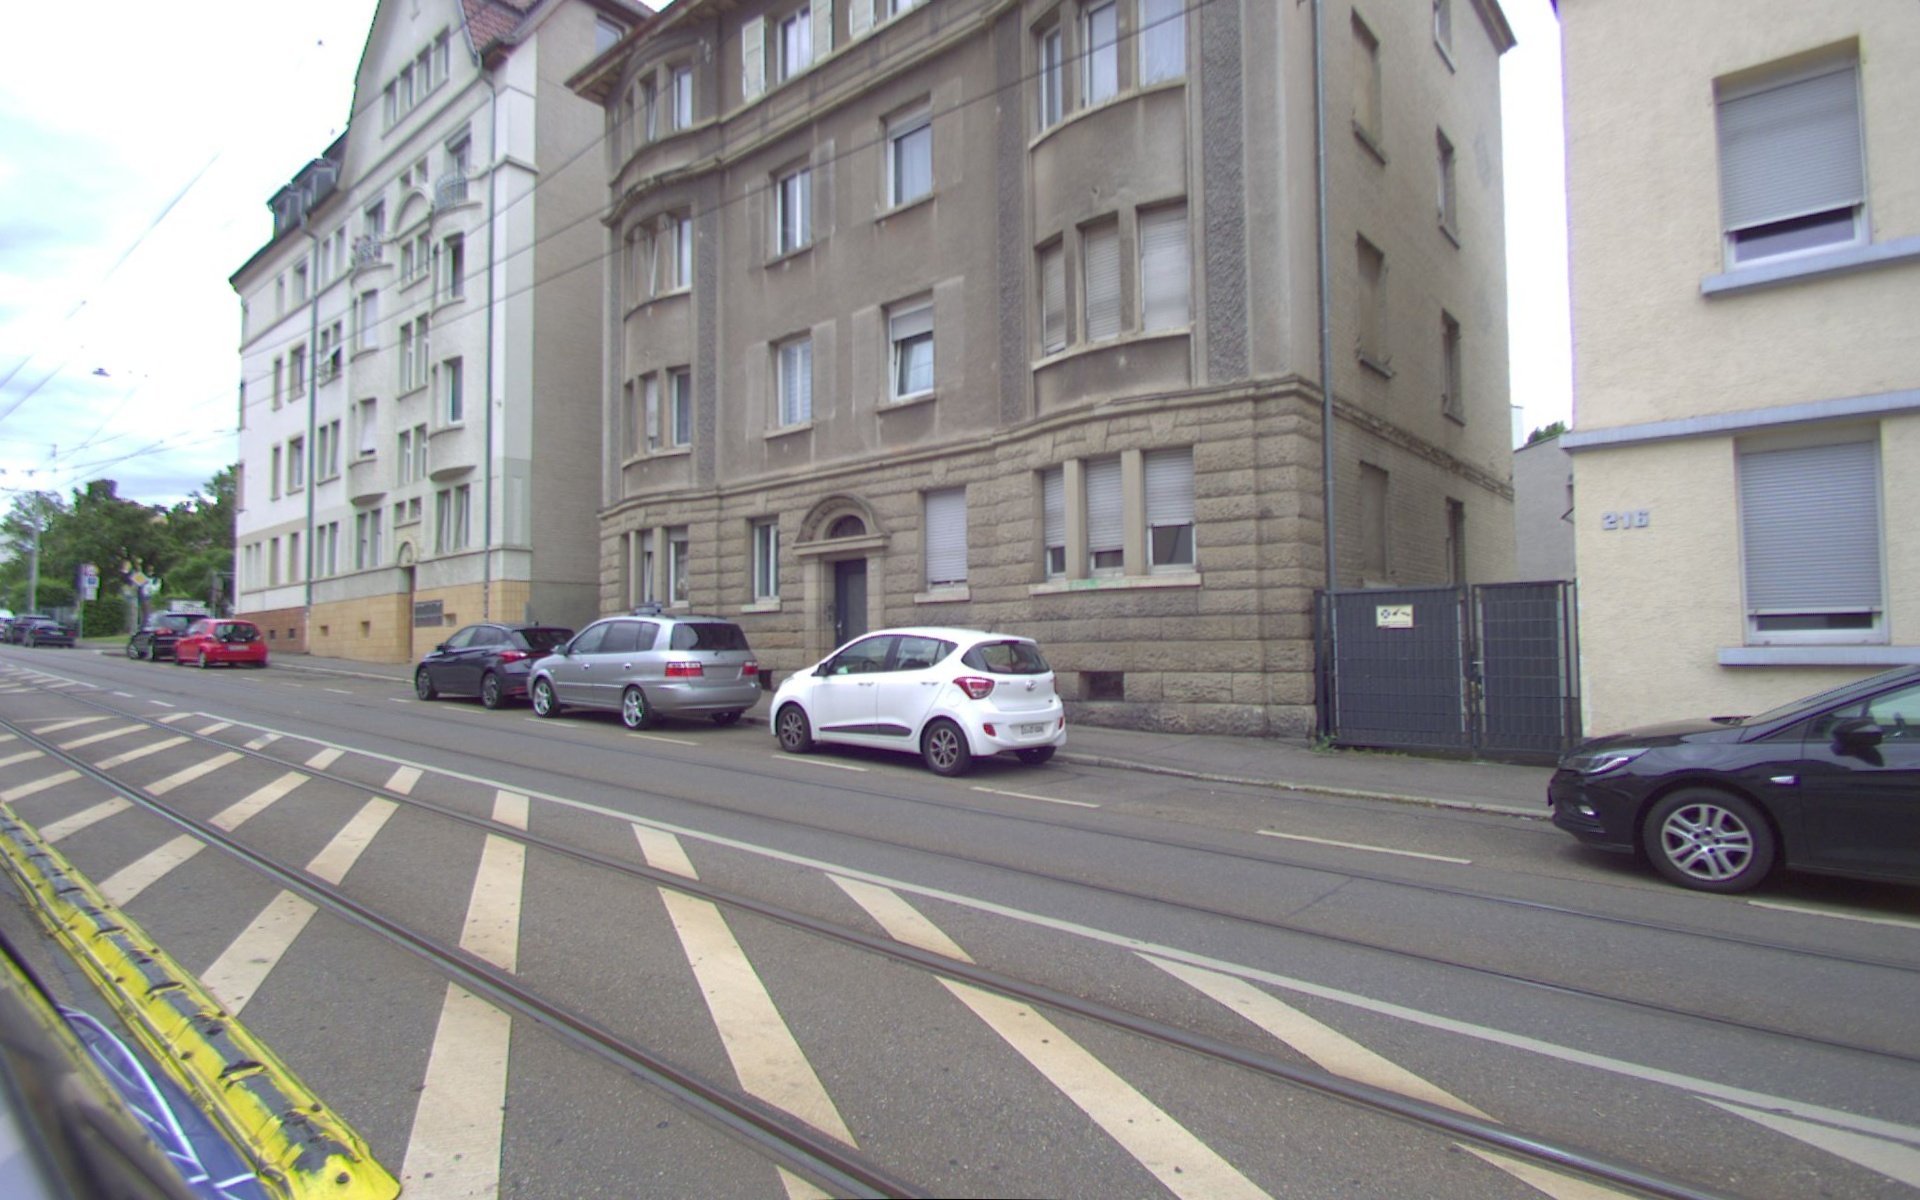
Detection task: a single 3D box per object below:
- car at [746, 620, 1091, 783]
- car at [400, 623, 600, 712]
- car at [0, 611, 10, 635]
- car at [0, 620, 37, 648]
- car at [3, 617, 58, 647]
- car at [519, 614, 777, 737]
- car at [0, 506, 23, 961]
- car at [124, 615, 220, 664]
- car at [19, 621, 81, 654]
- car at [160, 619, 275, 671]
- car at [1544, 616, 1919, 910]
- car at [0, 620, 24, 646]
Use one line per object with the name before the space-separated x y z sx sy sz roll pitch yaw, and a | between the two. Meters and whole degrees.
car | -0.572 1.014 11.558 3.799 1.522 1.720 -1 -2 41
car | -8.374 1.134 18.286 4.042 1.392 1.721 0 -2 40
car | -63.884 1.492 66.426 3.949 1.537 1.721 0 -3 40
car | -55.514 1.970 59.164 3.949 1.537 1.721 0 -3 40
car | -50.778 1.756 55.282 3.950 1.537 1.720 -1 -4 41
car | -4.750 1.009 15.134 4.140 1.579 1.721 0 -1 40
car | -6.228 0.556 5.010 4.674 1.852 1.863 -1 -1 41
car | -26.647 1.326 34.198 3.949 1.537 1.721 0 -3 40
car | -45.849 1.859 50.944 3.949 1.537 1.721 0 -3 40
car | -22.842 1.364 31.089 3.945 1.470 1.722 0 -3 37
car | 5.988 0.899 5.617 4.524 1.522 1.766 -1 -4 41
car | -59.270 2.002 62.385 3.949 1.537 1.721 0 -3 40
